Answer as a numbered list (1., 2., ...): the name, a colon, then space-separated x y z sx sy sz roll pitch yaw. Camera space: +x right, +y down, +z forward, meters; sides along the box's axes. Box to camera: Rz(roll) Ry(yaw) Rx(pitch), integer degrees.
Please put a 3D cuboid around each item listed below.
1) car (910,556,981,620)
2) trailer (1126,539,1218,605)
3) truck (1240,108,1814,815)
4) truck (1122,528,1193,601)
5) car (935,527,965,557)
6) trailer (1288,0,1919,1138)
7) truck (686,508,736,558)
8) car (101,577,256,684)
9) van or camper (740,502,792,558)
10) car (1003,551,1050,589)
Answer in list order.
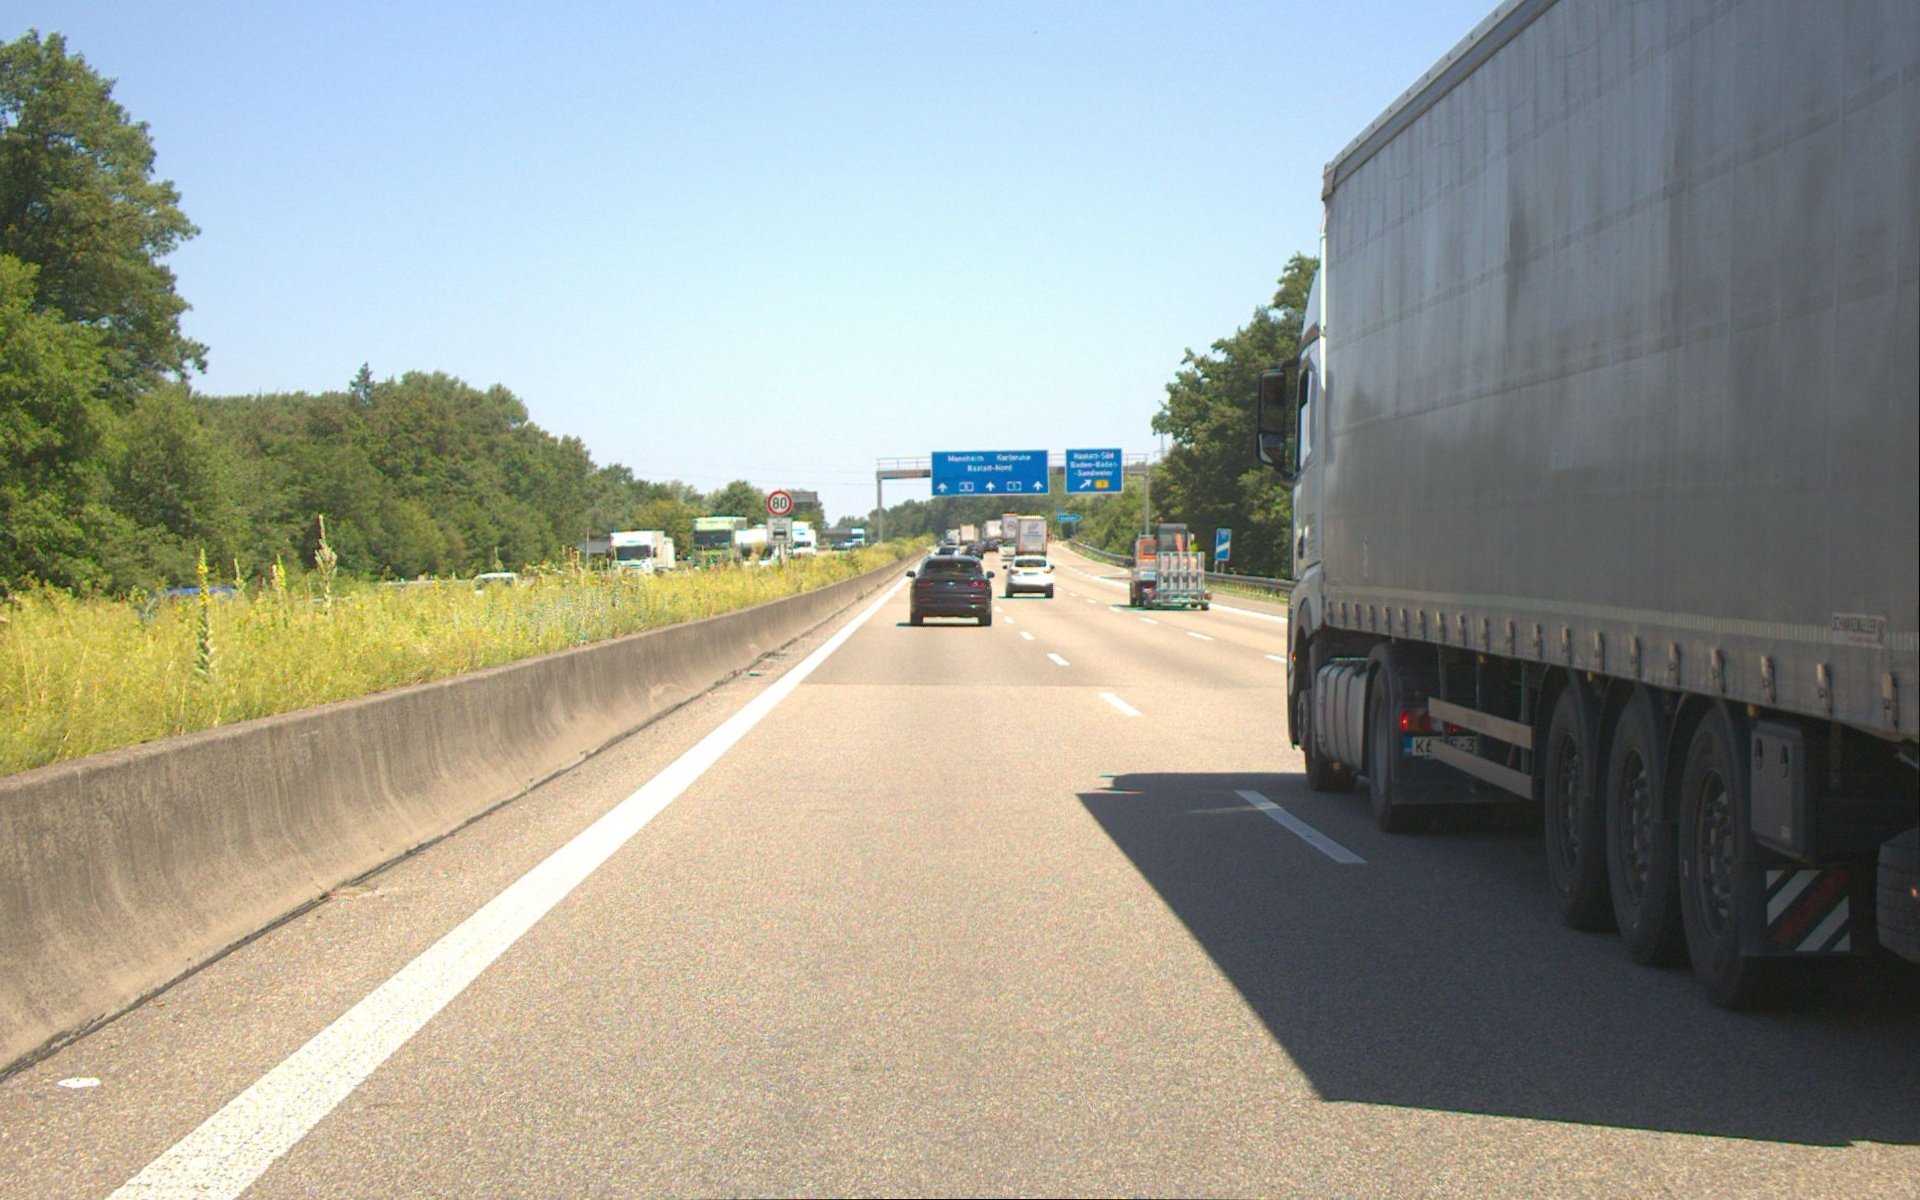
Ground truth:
1. car: -0.375 -0.313 84.699 1.660 1.544 3.783 0 0 -2
2. trailer: 6.704 -0.913 109.392 2.420 2.007 6.034 0 1 -1
3. truck: 3.546 -0.821 23.132 2.700 4.080 6.453 0 0 -1
4. truck: 6.575 -1.213 114.739 1.993 2.365 4.645 0 1 -1
5. car: -0.714 -4.091 243.669 1.993 2.007 4.000 -2 1 -1
6. trailer: 3.656 -0.738 15.740 2.707 4.054 14.746 0 0 -1
7. truck: -15.277 -4.143 211.408 2.606 2.998 6.972 -1 1 -1
8. car: -13.936 0.507 61.511 1.932 1.742 4.490 -2 1 -3
9. van or camper: -11.216 -4.042 199.148 2.507 3.144 7.534 0 1 1
10. car: 2.623 -1.192 136.056 1.740 1.481 4.000 0 1 0
